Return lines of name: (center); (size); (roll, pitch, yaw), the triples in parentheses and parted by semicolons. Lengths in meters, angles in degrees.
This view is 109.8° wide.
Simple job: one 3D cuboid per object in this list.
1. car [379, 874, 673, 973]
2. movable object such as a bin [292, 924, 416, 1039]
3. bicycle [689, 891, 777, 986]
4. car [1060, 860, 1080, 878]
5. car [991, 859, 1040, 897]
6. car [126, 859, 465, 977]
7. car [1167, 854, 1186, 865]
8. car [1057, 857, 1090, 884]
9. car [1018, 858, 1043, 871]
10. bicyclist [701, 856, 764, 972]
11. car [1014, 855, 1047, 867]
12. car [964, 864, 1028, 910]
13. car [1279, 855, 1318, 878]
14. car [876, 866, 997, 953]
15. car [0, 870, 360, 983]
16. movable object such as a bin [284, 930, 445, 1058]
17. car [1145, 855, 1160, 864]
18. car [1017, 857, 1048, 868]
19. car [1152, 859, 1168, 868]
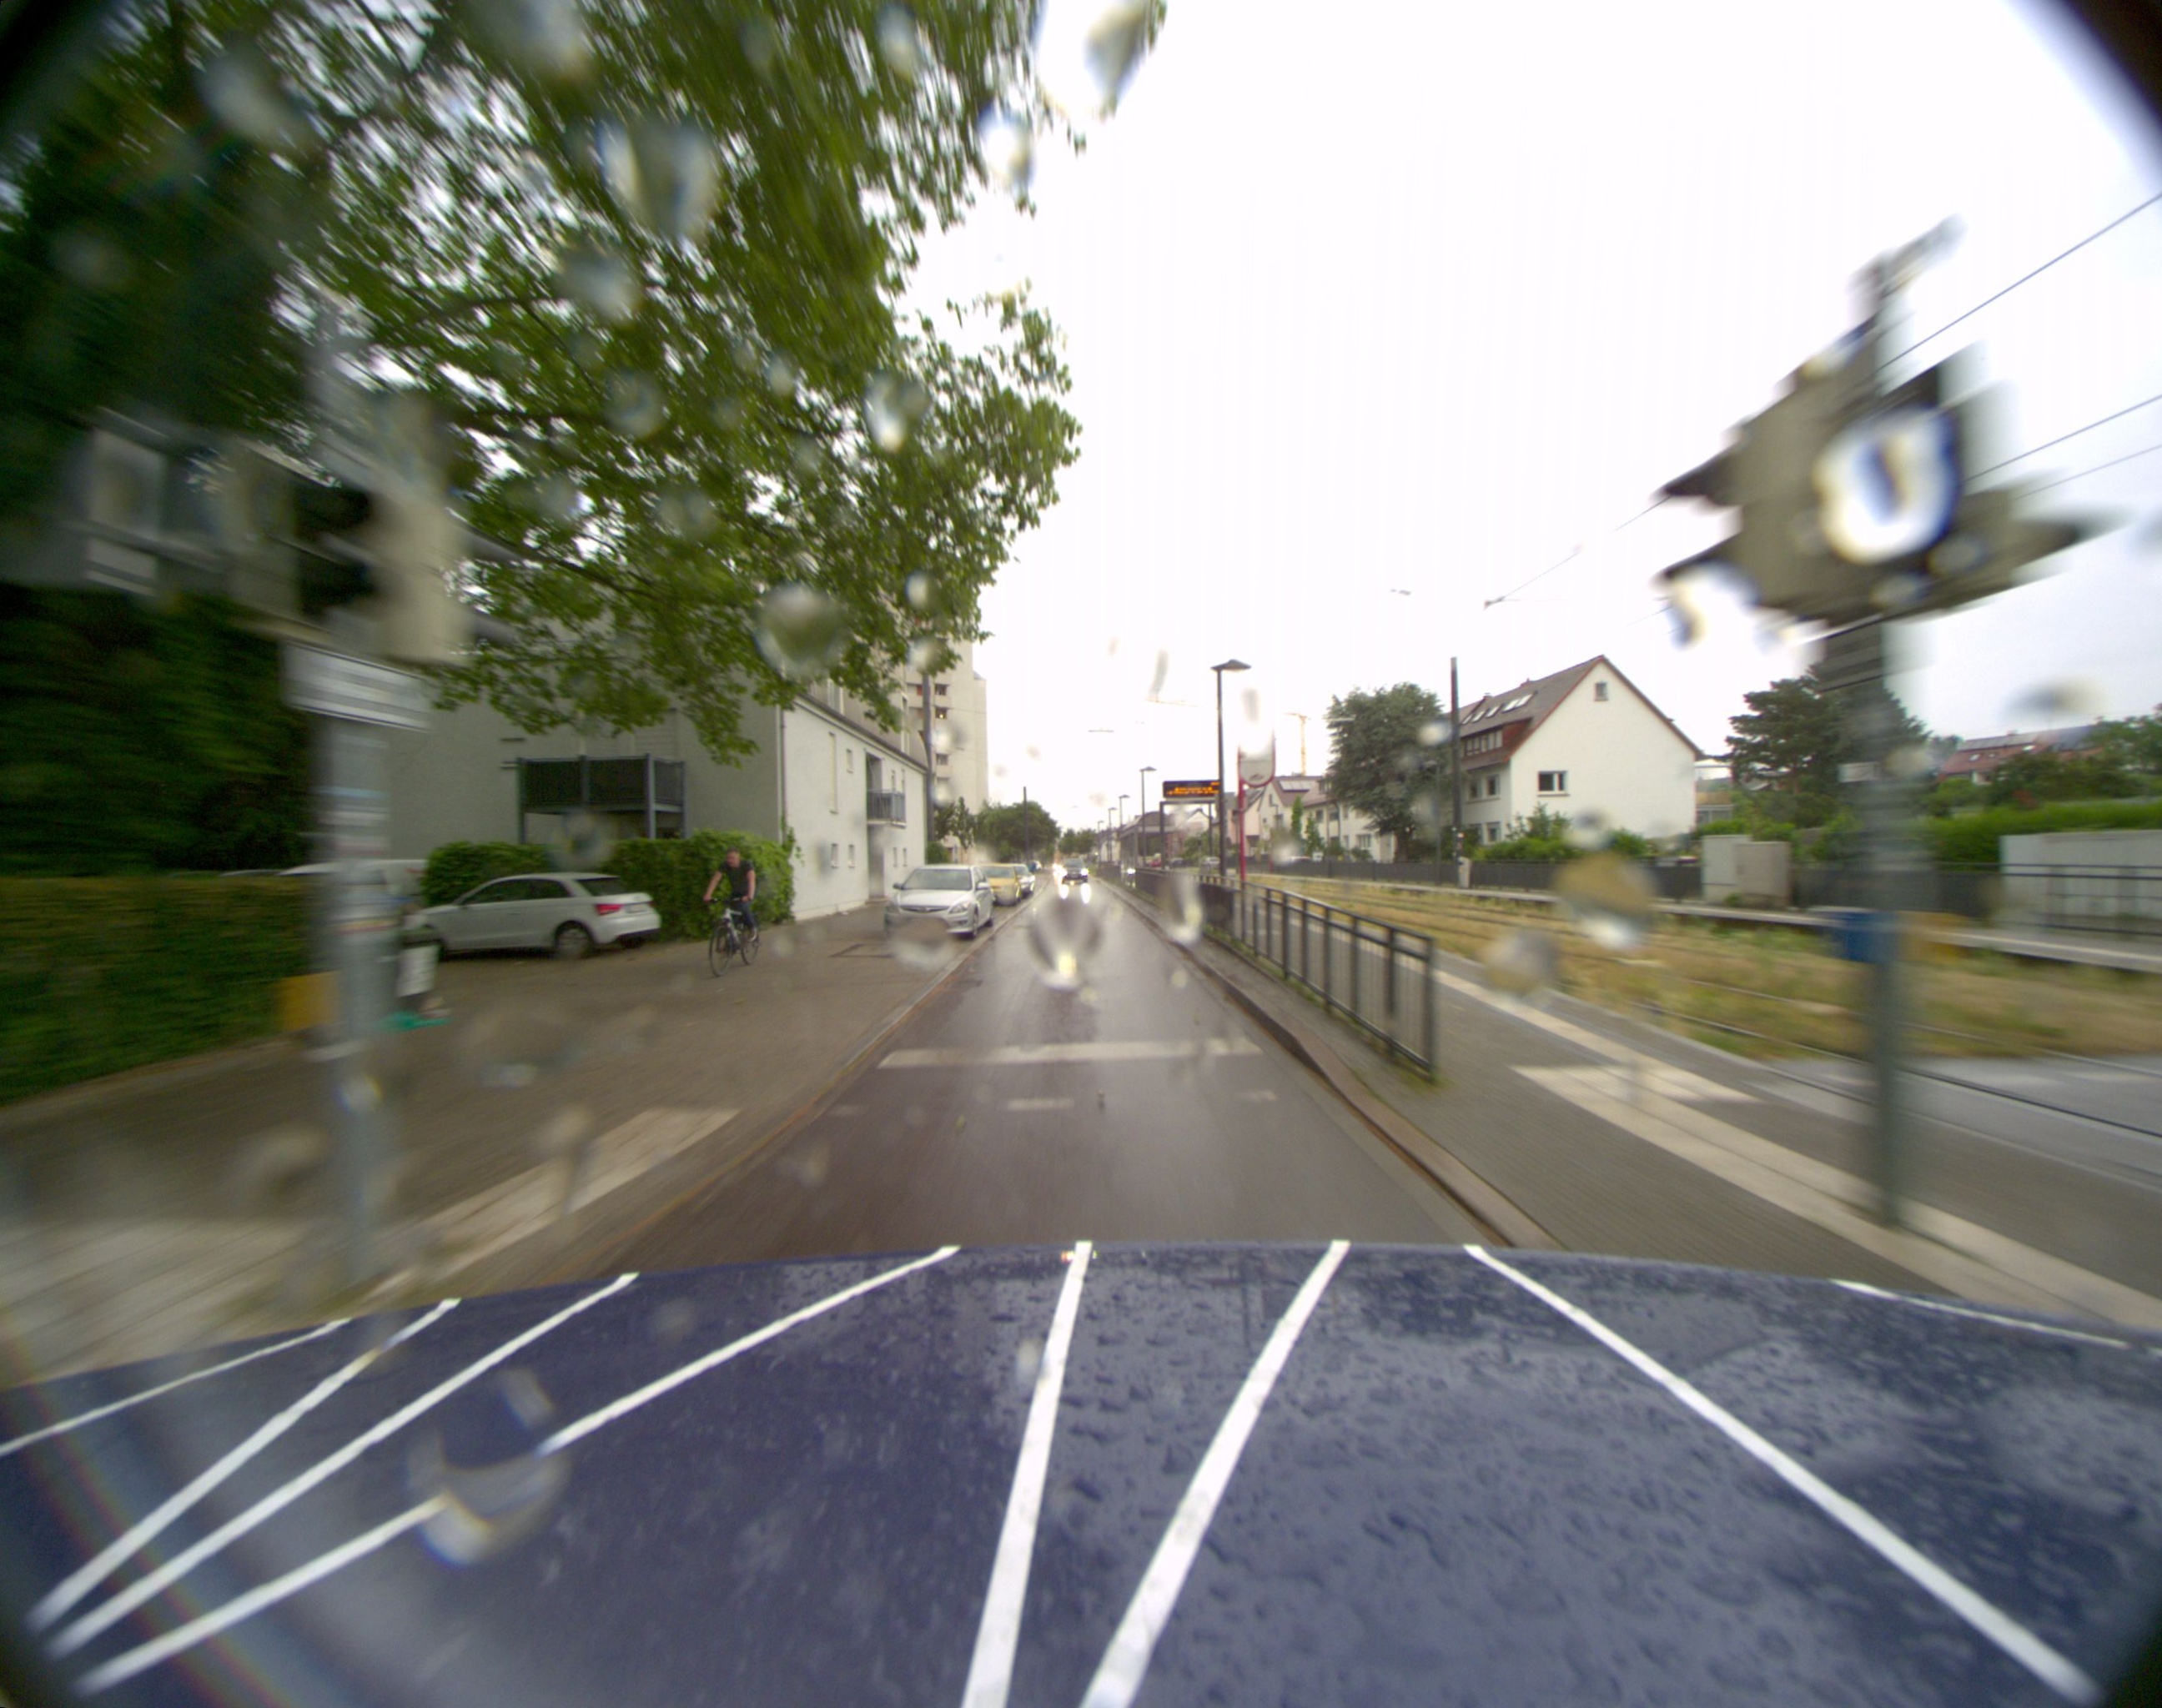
car: (-9.356, 1.138, 13.033); (3.705, 1.369, 1.760); (-2, 1, 2)
movable object such as a bin: (-7.213, 1.240, 7.571); (0.537, 1.016, 0.738); (1, 1, -1)
bicycle: (-4.864, 1.133, 10.740); (0.538, 1.087, 1.947); (-3, 1, -8)
car: (-1.183, 1.587, 80.489); (1.999, 1.761, 3.999); (-2, 1, -2)
car: (-2.762, 0.983, 32.752); (1.654, 1.397, 4.648); (2, 1, 0)
car: (-14.656, 1.073, 14.636); (1.998, 1.783, 4.248); (-2, 1, 0)
car: (13.654, 0.842, 108.674); (1.842, 1.418, 4.173); (-2, -1, -4)
car: (-0.567, 1.089, 51.923); (1.999, 1.611, 3.998); (-2, 1, -3)
car: (-6.205, 1.234, 93.027); (2.570, 1.539, 1.598); (-1, 1, -42)
bicyclist: (-4.878, 0.811, 10.663); (0.535, 1.550, 0.772); (-3, 1, -9)
car: (-6.806, 0.951, 102.303); (4.195, 1.538, 1.760); (2, -2, -42)
car: (-2.944, 1.116, 27.029); (1.811, 1.397, 3.793); (2, 1, 0)
car: (15.616, 0.867, 54.638); (1.637, 1.485, 3.999); (-2, 1, 1)
car: (-2.903, 1.064, 16.063); (1.811, 1.459, 3.793); (2, 1, 0)
car: (-16.925, 1.236, 14.591); (1.998, 1.645, 4.248); (-2, 1, 0)
movable object such as a bin: (-6.519, 1.248, 6.957); (0.694, 1.016, 0.824); (1, 1, -1)
car: (12.710, 1.003, 135.008); (1.999, 1.401, 4.174); (-2, -1, -4)
car: (-7.485, 1.352, 117.748); (4.471, 1.661, 1.808); (2, -2, -40)
car: (13.443, 1.665, 129.652); (1.999, 1.365, 3.842); (-2, 1, -4)
